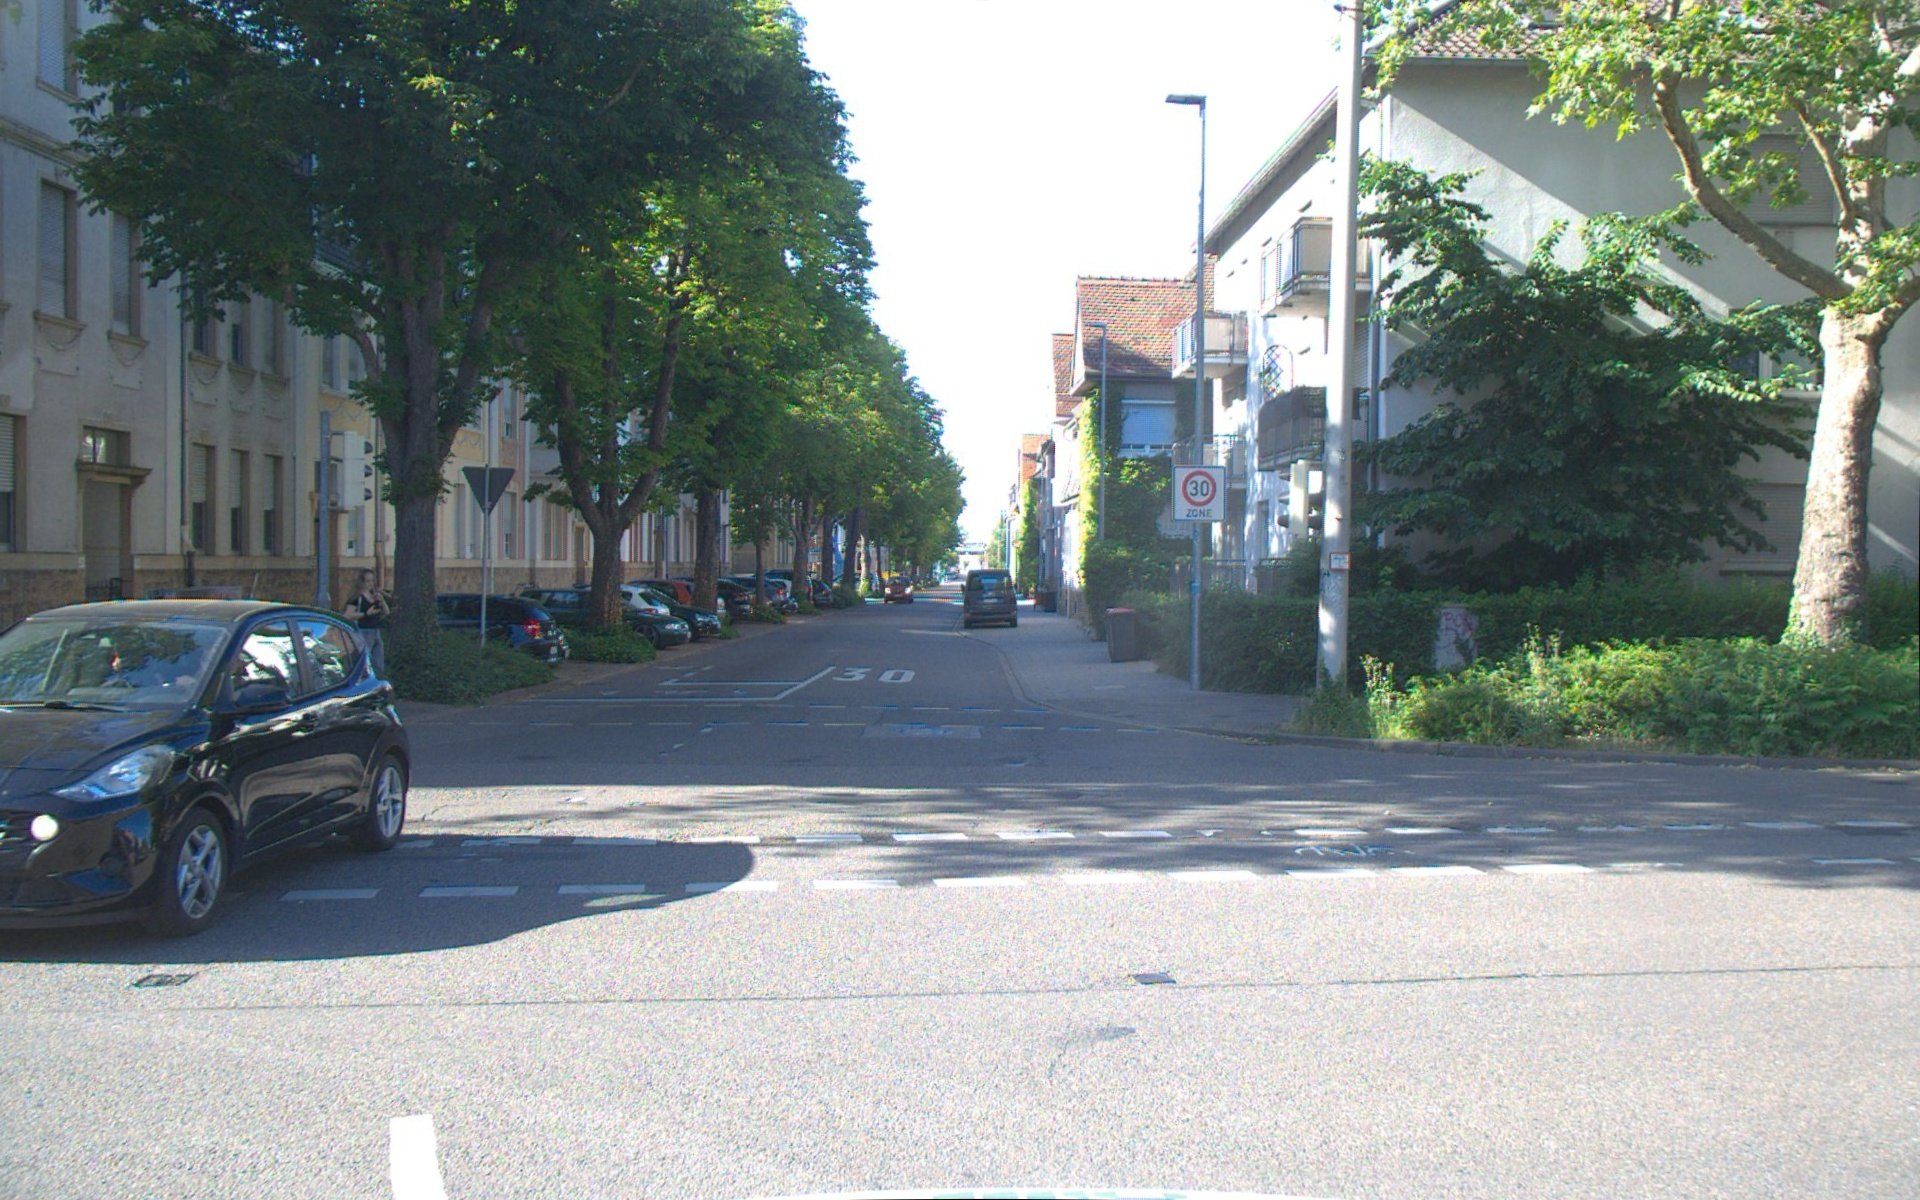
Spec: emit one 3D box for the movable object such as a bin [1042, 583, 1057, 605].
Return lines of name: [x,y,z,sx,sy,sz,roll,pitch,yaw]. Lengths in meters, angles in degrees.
movable object such as a bin: [4.249,-0.281,78.884,0.634,1.058,0.828,0,1,-2]

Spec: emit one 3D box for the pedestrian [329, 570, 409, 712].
pedestrian: [-7.268,0.485,20.369,0.679,1.711,0.681,0,1,11]

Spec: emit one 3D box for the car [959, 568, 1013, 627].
car: [0.909,-0.146,57.927,1.826,1.949,4.783,1,1,1]

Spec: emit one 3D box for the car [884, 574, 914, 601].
car: [-3.582,-0.771,97.455,1.607,1.534,3.702,-1,1,0]

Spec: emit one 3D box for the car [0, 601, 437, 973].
car: [-4.168,0.756,8.568,1.626,1.490,3.809,0,0,1]

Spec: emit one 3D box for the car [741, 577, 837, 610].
car: [-8.233,-0.331,79.838,4.440,1.529,1.892,1,1,-1]

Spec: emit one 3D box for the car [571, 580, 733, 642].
car: [-8.149,0.274,43.934,3.904,1.508,1.786,1,1,2]

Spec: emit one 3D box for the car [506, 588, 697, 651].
car: [-8.435,0.455,39.147,4.125,1.372,1.703,1,0,0]

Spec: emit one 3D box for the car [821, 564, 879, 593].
car: [-7.624,-1.501,114.746,3.908,1.791,1.797,3,0,-3]

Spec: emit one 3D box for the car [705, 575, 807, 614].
car: [-8.405,-0.225,68.382,3.820,1.471,1.860,2,1,5]

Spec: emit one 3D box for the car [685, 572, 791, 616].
car: [-8.738,-0.247,65.347,3.905,1.620,1.859,2,1,0]

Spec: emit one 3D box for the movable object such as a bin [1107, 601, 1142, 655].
movable object such as a bin: [3.427,0.574,34.526,0.585,1.062,0.707,-3,1,-2]

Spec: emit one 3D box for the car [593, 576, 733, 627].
car: [-9.165,0.032,51.239,3.904,1.428,1.830,2,1,2]

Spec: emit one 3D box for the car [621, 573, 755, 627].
car: [-8.724,-0.019,53.249,3.904,1.594,1.864,2,1,2]

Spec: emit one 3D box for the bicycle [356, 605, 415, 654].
bicycle: [-11.695,0.590,33.698,0.462,0.927,1.598,1,1,7]

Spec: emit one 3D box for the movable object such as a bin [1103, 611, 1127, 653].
movable object such as a bin: [3.673,0.761,39.316,0.493,0.931,0.573,-3,1,2]

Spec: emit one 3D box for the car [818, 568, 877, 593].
car: [-7.619,-1.332,112.366,3.908,1.489,1.797,3,0,-3]

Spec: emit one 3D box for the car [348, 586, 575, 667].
car: [-9.251,0.478,30.905,3.807,1.439,1.613,0,1,-6]

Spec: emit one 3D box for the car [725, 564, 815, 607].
car: [-8.596,-0.677,75.032,3.898,1.888,1.829,1,1,-1]

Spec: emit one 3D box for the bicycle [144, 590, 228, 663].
bicycle: [-13.650,0.448,29.216,0.503,1.174,1.983,3,2,1]

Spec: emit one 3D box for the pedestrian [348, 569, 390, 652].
pedestrian: [-12.124,0.206,33.949,0.450,1.687,0.895,1,1,8]

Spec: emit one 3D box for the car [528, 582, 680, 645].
car: [-8.881,0.334,41.442,3.362,1.477,1.704,1,0,2]

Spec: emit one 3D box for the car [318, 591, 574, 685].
car: [-8.655,0.626,28.043,3.802,1.501,1.615,0,1,0]

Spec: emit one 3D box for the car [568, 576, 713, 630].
car: [-9.396,0.062,48.883,3.904,1.534,1.723,0,1,2]

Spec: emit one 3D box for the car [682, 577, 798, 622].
car: [-7.888,-0.025,59.543,3.905,1.541,1.747,1,0,0]

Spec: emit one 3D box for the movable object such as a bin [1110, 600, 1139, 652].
movable object such as a bin: [3.507,0.553,35.345,0.473,1.062,0.656,-3,1,-2]
